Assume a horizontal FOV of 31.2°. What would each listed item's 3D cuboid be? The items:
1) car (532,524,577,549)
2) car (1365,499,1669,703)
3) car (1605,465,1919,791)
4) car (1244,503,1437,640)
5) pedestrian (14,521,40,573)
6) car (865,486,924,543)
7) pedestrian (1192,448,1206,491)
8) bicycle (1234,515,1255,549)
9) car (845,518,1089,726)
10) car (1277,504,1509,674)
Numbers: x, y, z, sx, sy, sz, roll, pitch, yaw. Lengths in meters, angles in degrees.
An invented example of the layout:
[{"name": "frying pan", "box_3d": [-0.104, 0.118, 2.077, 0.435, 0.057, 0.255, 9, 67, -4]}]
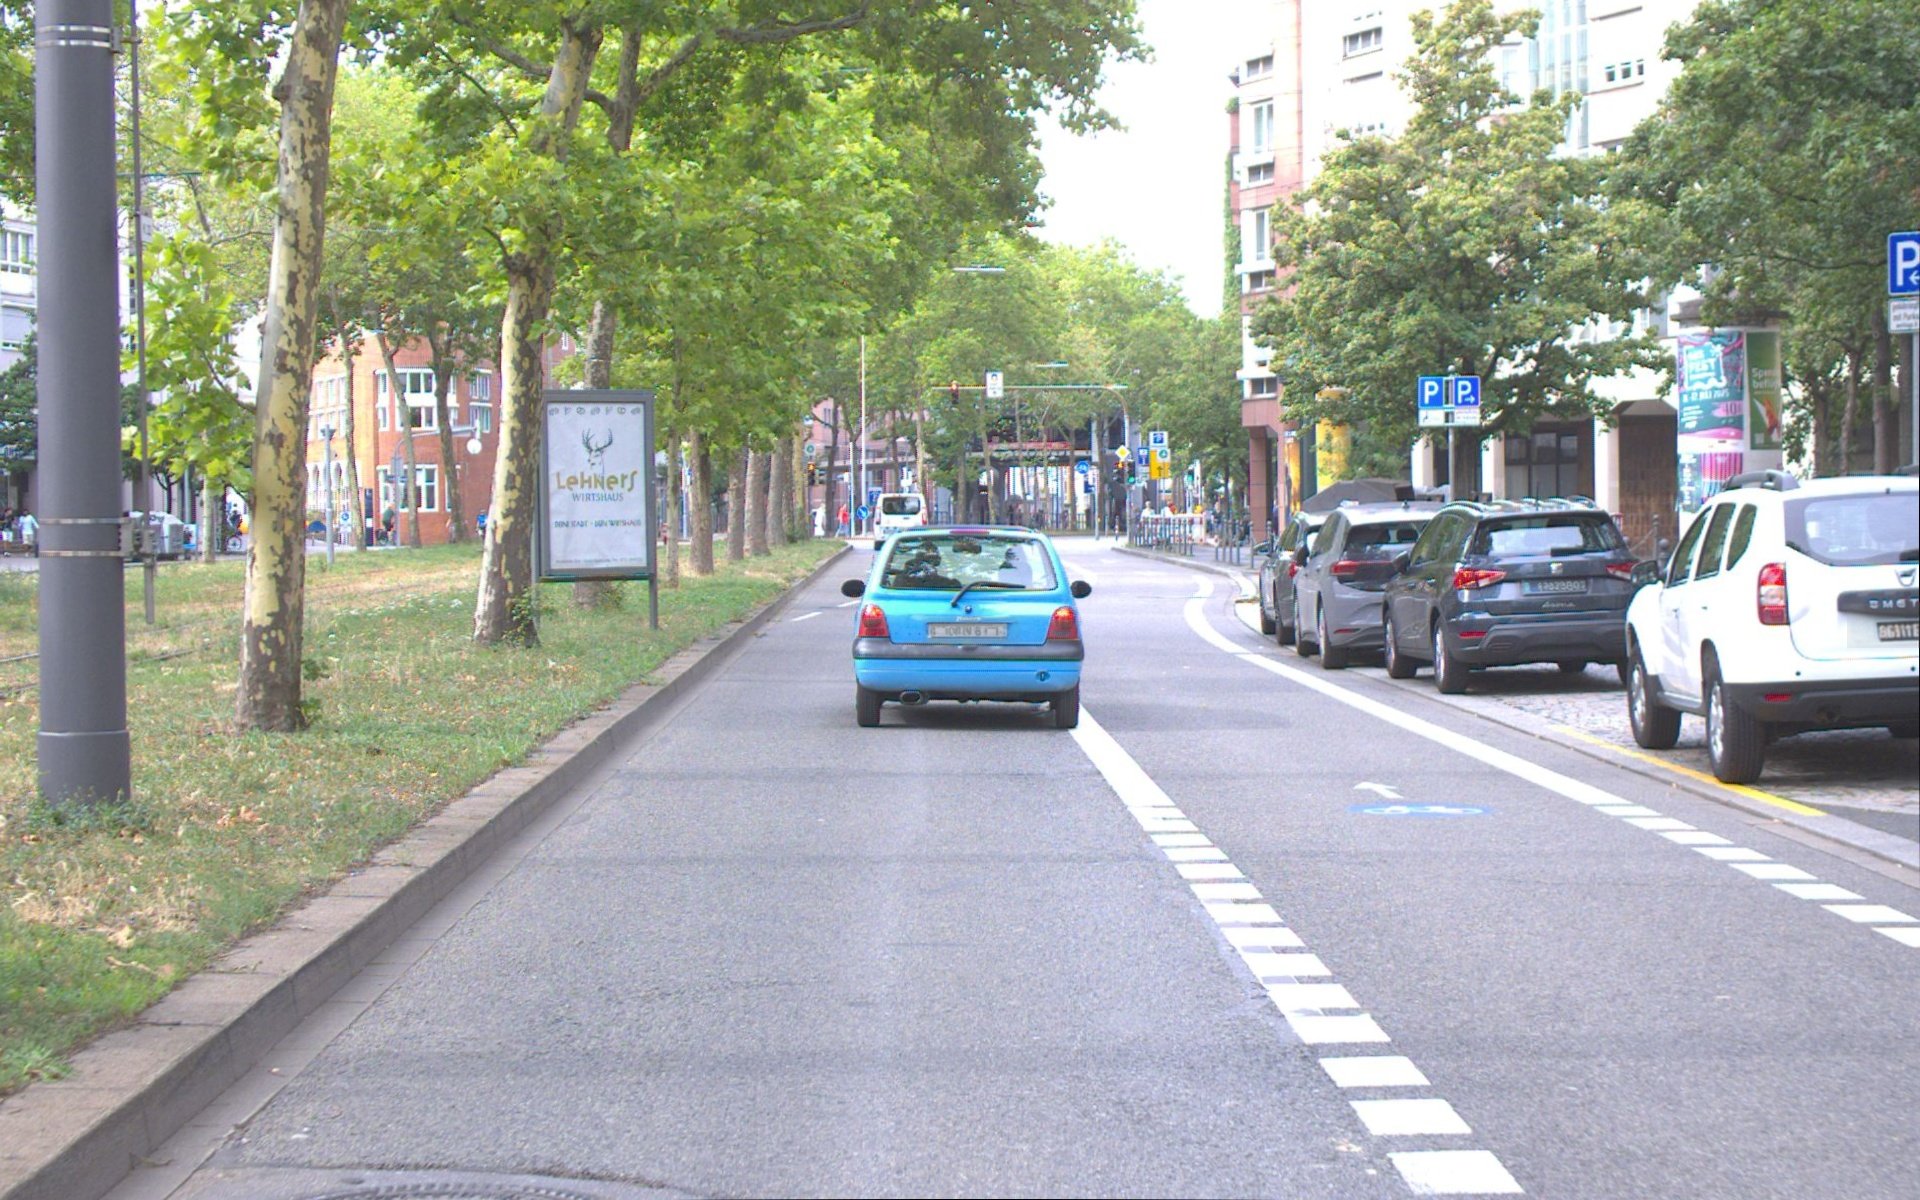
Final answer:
[{"name": "car", "box_3d": [-19.938, -3.133, 169.129, 1.729, 1.241, 4.535, 0, 1, -1]}, {"name": "car", "box_3d": [4.586, -0.051, 28.856, 1.715, 1.513, 4.204, -3, 2, -1]}, {"name": "car", "box_3d": [4.965, 0.071, 19.762, 1.861, 1.647, 4.163, -2, 2, 3]}, {"name": "car", "box_3d": [4.333, -0.370, 39.726, 1.817, 1.437, 4.666, -2, 1, 2]}, {"name": "pedestrian", "box_3d": [-31.029, -1.771, 114.356, 0.552, 1.699, 0.884, 0, 1, 4]}, {"name": "car", "box_3d": [-2.239, -2.949, 118.176, 1.931, 1.919, 4.956, -1, 2, 0]}, {"name": "pedestrian", "box_3d": [9.055, -4.960, 130.269, 0.517, 1.610, 0.851, 0, 1, 5]}, {"name": "bicycle", "box_3d": [9.350, -2.238, 113.034, 0.612, 1.114, 1.804, 0, 1, 7]}, {"name": "car", "box_3d": [0.049, 0.103, 25.050, 1.640, 1.381, 3.843, 0, 2, 0]}, {"name": "car", "box_3d": [4.212, -0.161, 33.996, 1.740, 1.513, 4.401, -2, 2, 1]}]
